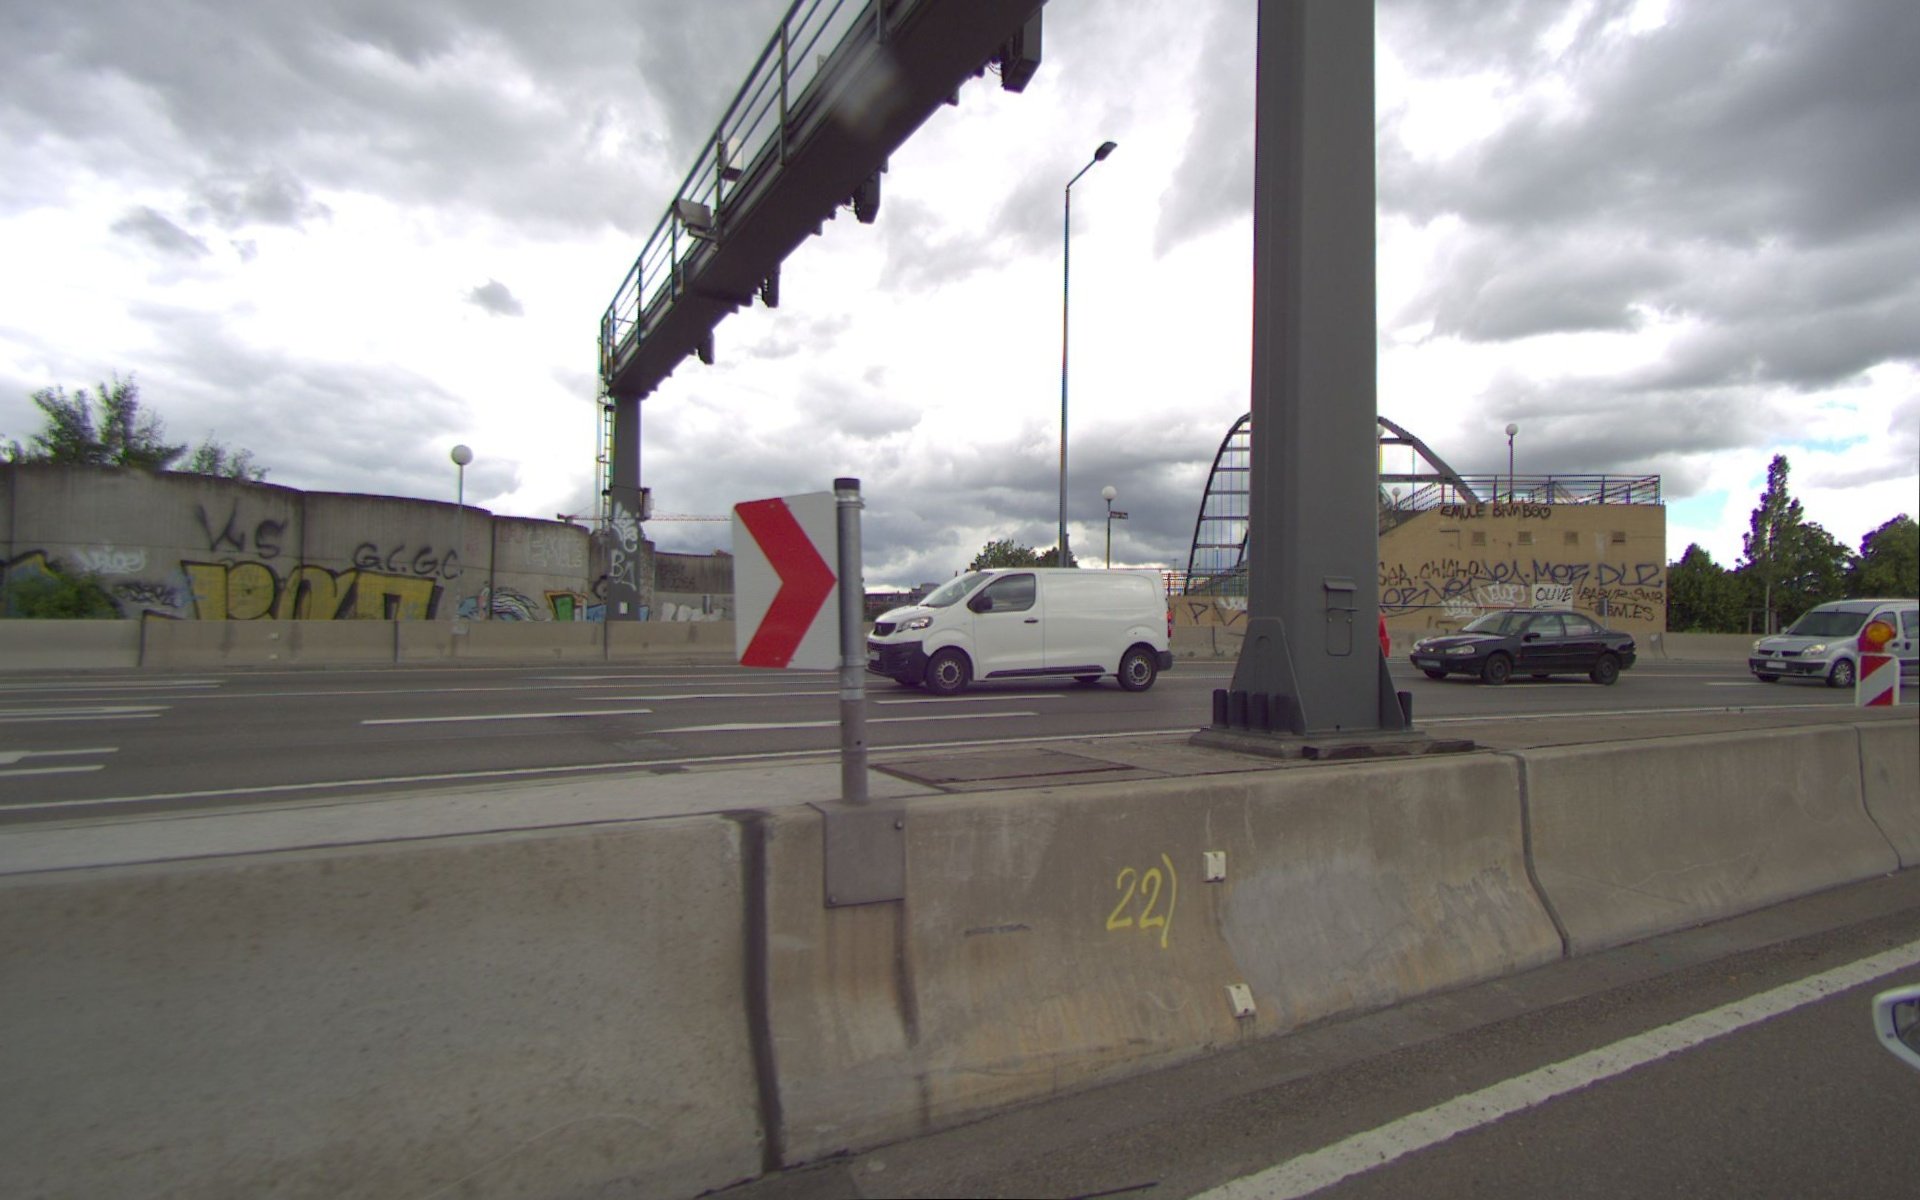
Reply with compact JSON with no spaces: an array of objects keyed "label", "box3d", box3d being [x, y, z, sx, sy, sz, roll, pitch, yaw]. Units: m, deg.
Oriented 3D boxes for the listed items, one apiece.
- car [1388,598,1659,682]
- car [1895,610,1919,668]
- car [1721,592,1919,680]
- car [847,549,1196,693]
[{"label":"car","box3d":[10.961,0.772,19.626,4.511,1.508,1.994,1,0,-15]},{"label":"car","box3d":[26.269,1.043,25.932,2.886,1.495,1.629,1,0,-7]},{"label":"car","box3d":[18.646,0.759,21.127,4.186,1.708,1.995,1,0,-13]},{"label":"car","box3d":[0.960,0.356,15.820,5.032,1.977,2.232,2,-1,-23]}]
